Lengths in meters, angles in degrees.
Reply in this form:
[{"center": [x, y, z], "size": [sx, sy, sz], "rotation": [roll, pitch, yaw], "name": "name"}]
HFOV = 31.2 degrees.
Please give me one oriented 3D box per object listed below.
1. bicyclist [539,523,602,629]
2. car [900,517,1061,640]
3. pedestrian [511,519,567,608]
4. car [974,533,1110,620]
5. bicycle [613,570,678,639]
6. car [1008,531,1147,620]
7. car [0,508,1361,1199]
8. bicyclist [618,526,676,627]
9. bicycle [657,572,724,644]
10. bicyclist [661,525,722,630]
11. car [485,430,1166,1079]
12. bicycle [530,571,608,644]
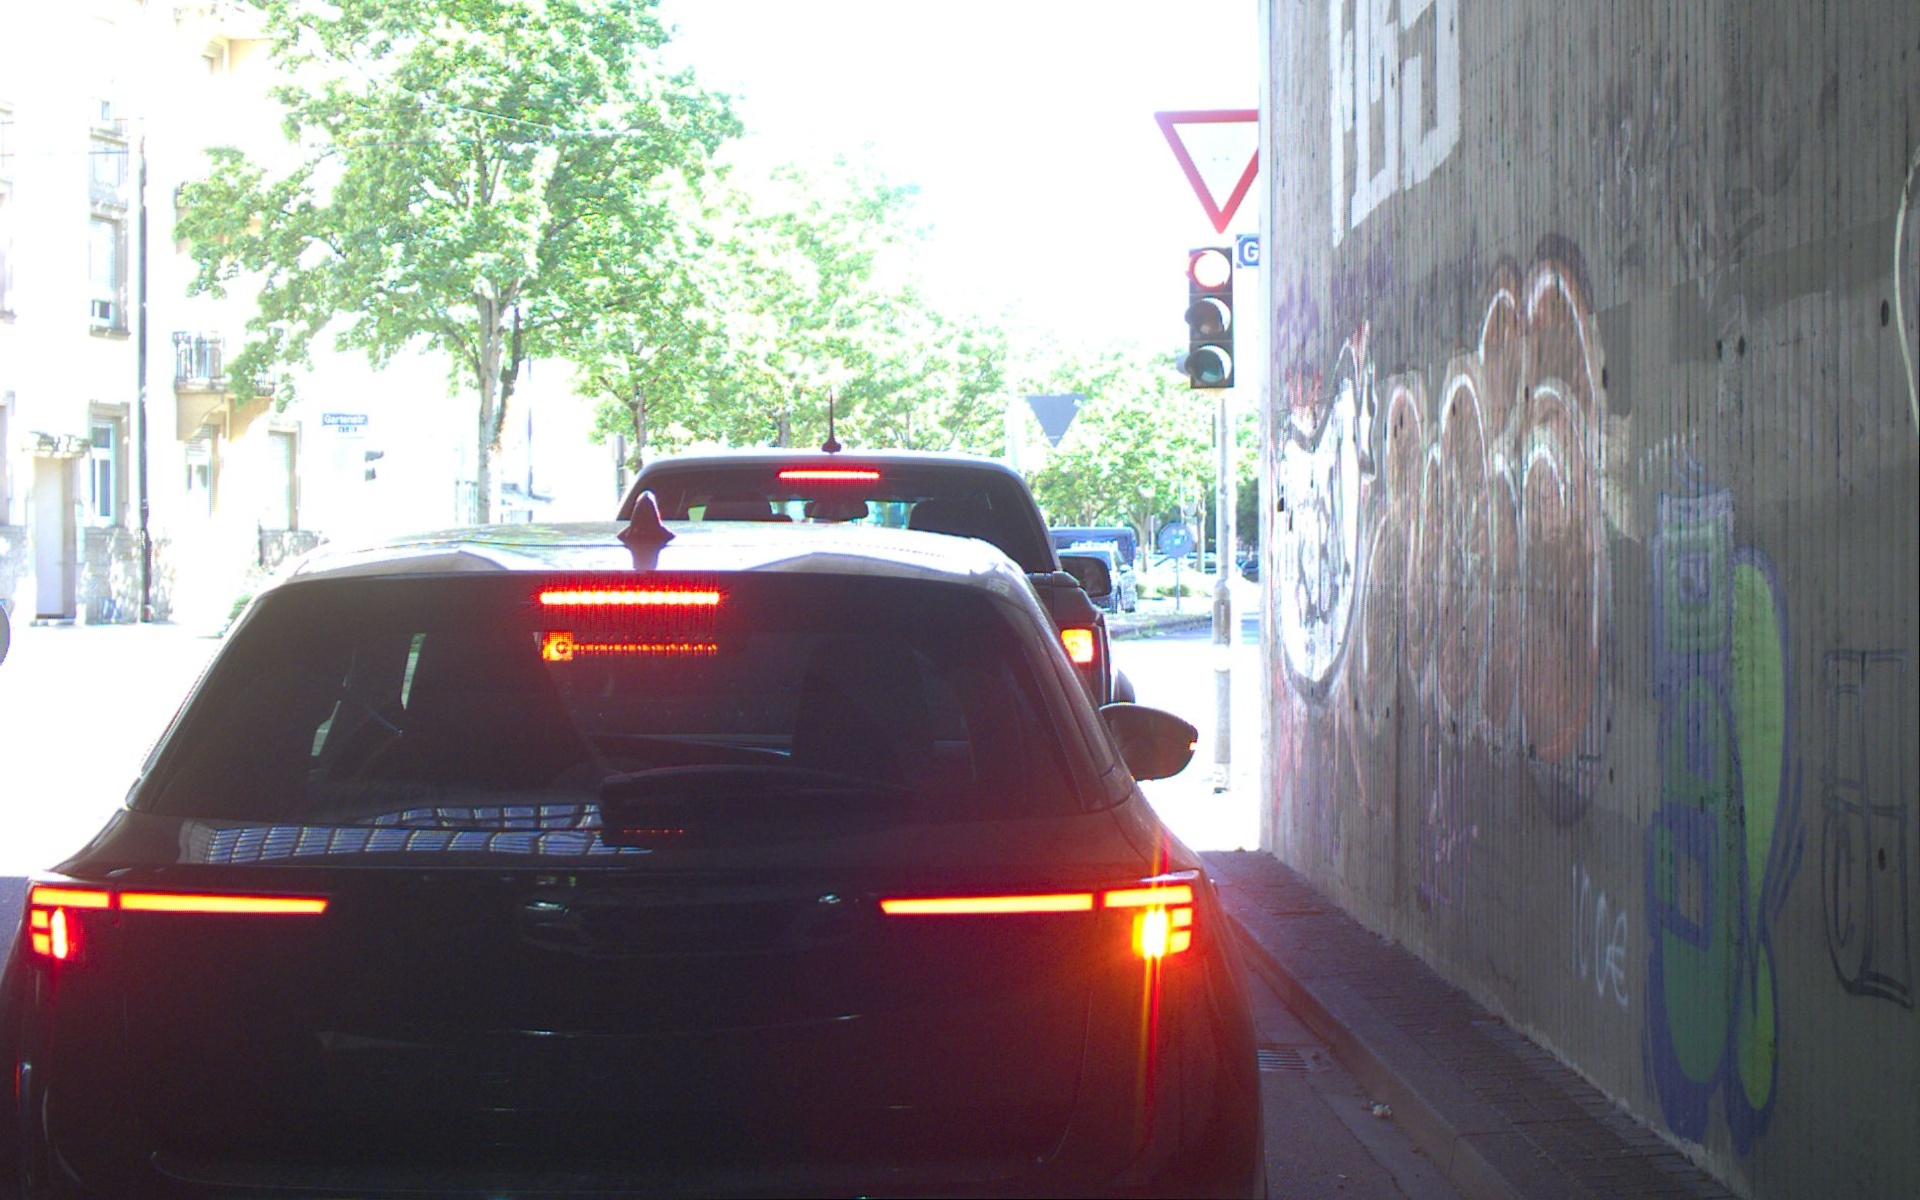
[{"center": [-5.834, -0.359, 51.534], "size": [0.729, 1.576, 0.814], "rotation": [1, 0, 9], "name": "bicyclist"}, {"center": [0.303, -0.244, 44.166], "size": [1.968, 1.492, 3.896], "rotation": [0, -1, 1], "name": "car"}, {"center": [-9.529, -0.826, 77.890], "size": [0.992, 2.007, 1.088], "rotation": [0, 1, 8], "name": "pedestrian"}, {"center": [1.511, -0.401, 62.188], "size": [1.969, 1.492, 3.895], "rotation": [0, -1, 9], "name": "car"}, {"center": [-4.985, 0.064, 54.566], "size": [0.626, 1.064, 1.688], "rotation": [1, 1, 9], "name": "bicycle"}, {"center": [2.397, -0.459, 68.998], "size": [2.221, 1.713, 4.458], "rotation": [0, -1, 10], "name": "car"}, {"center": [-0.487, 0.627, 6.063], "size": [1.882, 1.532, 3.964], "rotation": [-1, 1, -1], "name": "car"}, {"center": [-4.967, -0.378, 54.598], "size": [0.729, 1.576, 0.814], "rotation": [1, 0, 9], "name": "bicyclist"}, {"center": [-4.077, 0.115, 52.109], "size": [0.626, 1.064, 1.688], "rotation": [1, 1, 9], "name": "bicycle"}, {"center": [-4.071, -0.341, 52.105], "size": [0.729, 1.576, 0.814], "rotation": [1, 0, 9], "name": "bicyclist"}, {"center": [-0.408, 0.408, 11.885], "size": [1.945, 1.853, 3.964], "rotation": [-1, 1, -1], "name": "car"}, {"center": [-5.852, 0.097, 51.508], "size": [0.732, 1.064, 1.688], "rotation": [1, 1, 9], "name": "bicycle"}]
